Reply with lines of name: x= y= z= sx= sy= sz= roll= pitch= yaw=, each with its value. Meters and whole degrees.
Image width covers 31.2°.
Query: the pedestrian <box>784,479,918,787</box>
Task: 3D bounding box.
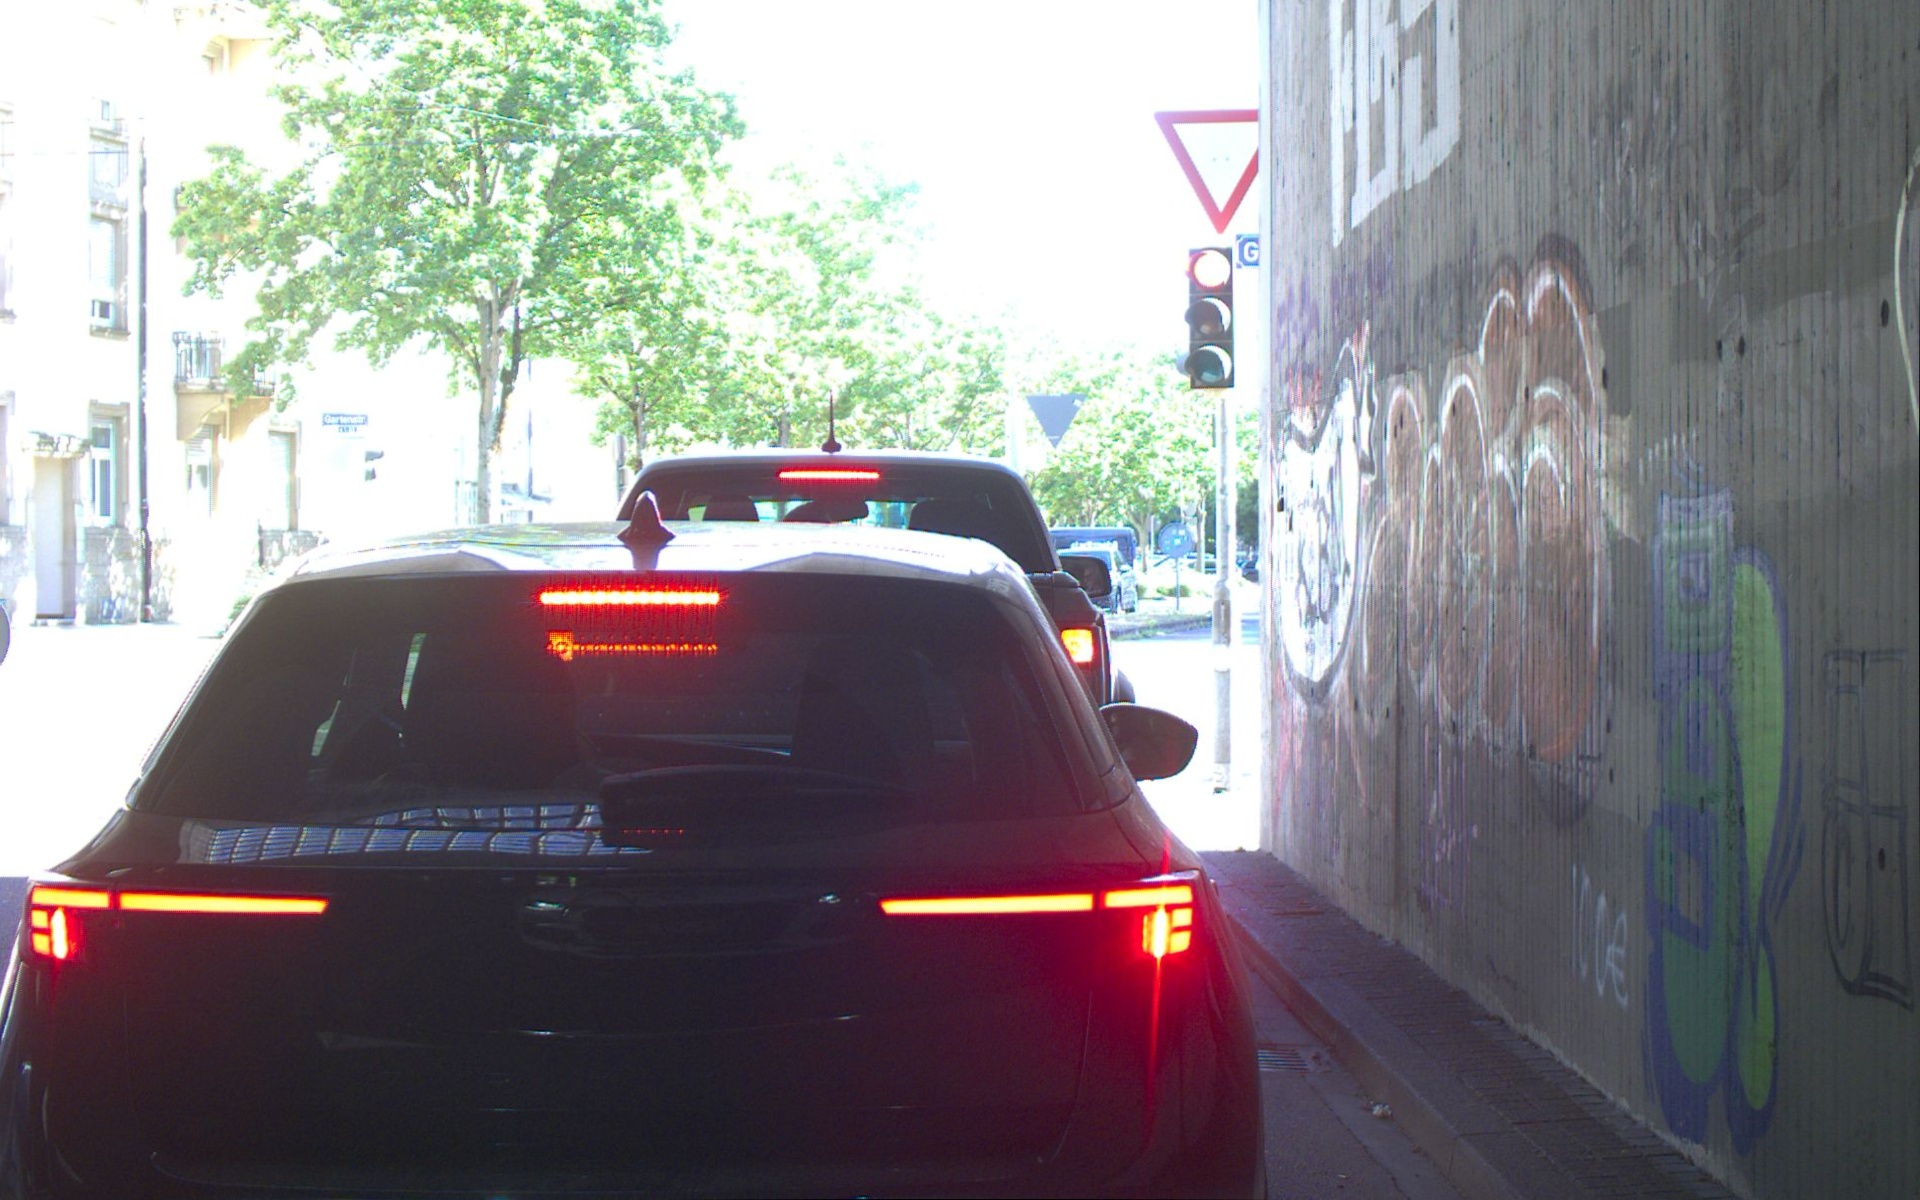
pedestrian: x=-0.618 y=0.183 z=19.824 sx=0.731 sy=1.728 sz=0.874 roll=1 pitch=0 yaw=-1

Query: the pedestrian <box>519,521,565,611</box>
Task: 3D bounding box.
pedestrian: x=-9.754 y=-0.796 z=80.236 sx=0.892 sy=2.080 sz=0.808 roll=1 pitch=0 yaw=7

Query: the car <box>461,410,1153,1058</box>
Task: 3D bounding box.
car: x=-0.465 y=0.350 z=11.985 sx=1.993 sy=1.865 sz=4.000 roll=0 pitch=1 yaw=-1

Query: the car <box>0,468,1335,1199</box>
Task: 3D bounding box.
car: x=-0.480 y=0.566 z=6.000 sx=1.764 sy=1.566 sz=4.001 roll=1 pitch=2 yaw=-1

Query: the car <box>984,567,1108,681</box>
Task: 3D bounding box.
car: x=1.593 y=0.395 z=62.230 sx=1.994 sy=1.963 sz=4.163 roll=1 pitch=1 yaw=5

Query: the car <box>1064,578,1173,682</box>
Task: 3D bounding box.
car: x=3.184 y=0.562 z=68.383 sx=1.994 sy=1.963 sz=4.163 roll=1 pitch=1 yaw=5
